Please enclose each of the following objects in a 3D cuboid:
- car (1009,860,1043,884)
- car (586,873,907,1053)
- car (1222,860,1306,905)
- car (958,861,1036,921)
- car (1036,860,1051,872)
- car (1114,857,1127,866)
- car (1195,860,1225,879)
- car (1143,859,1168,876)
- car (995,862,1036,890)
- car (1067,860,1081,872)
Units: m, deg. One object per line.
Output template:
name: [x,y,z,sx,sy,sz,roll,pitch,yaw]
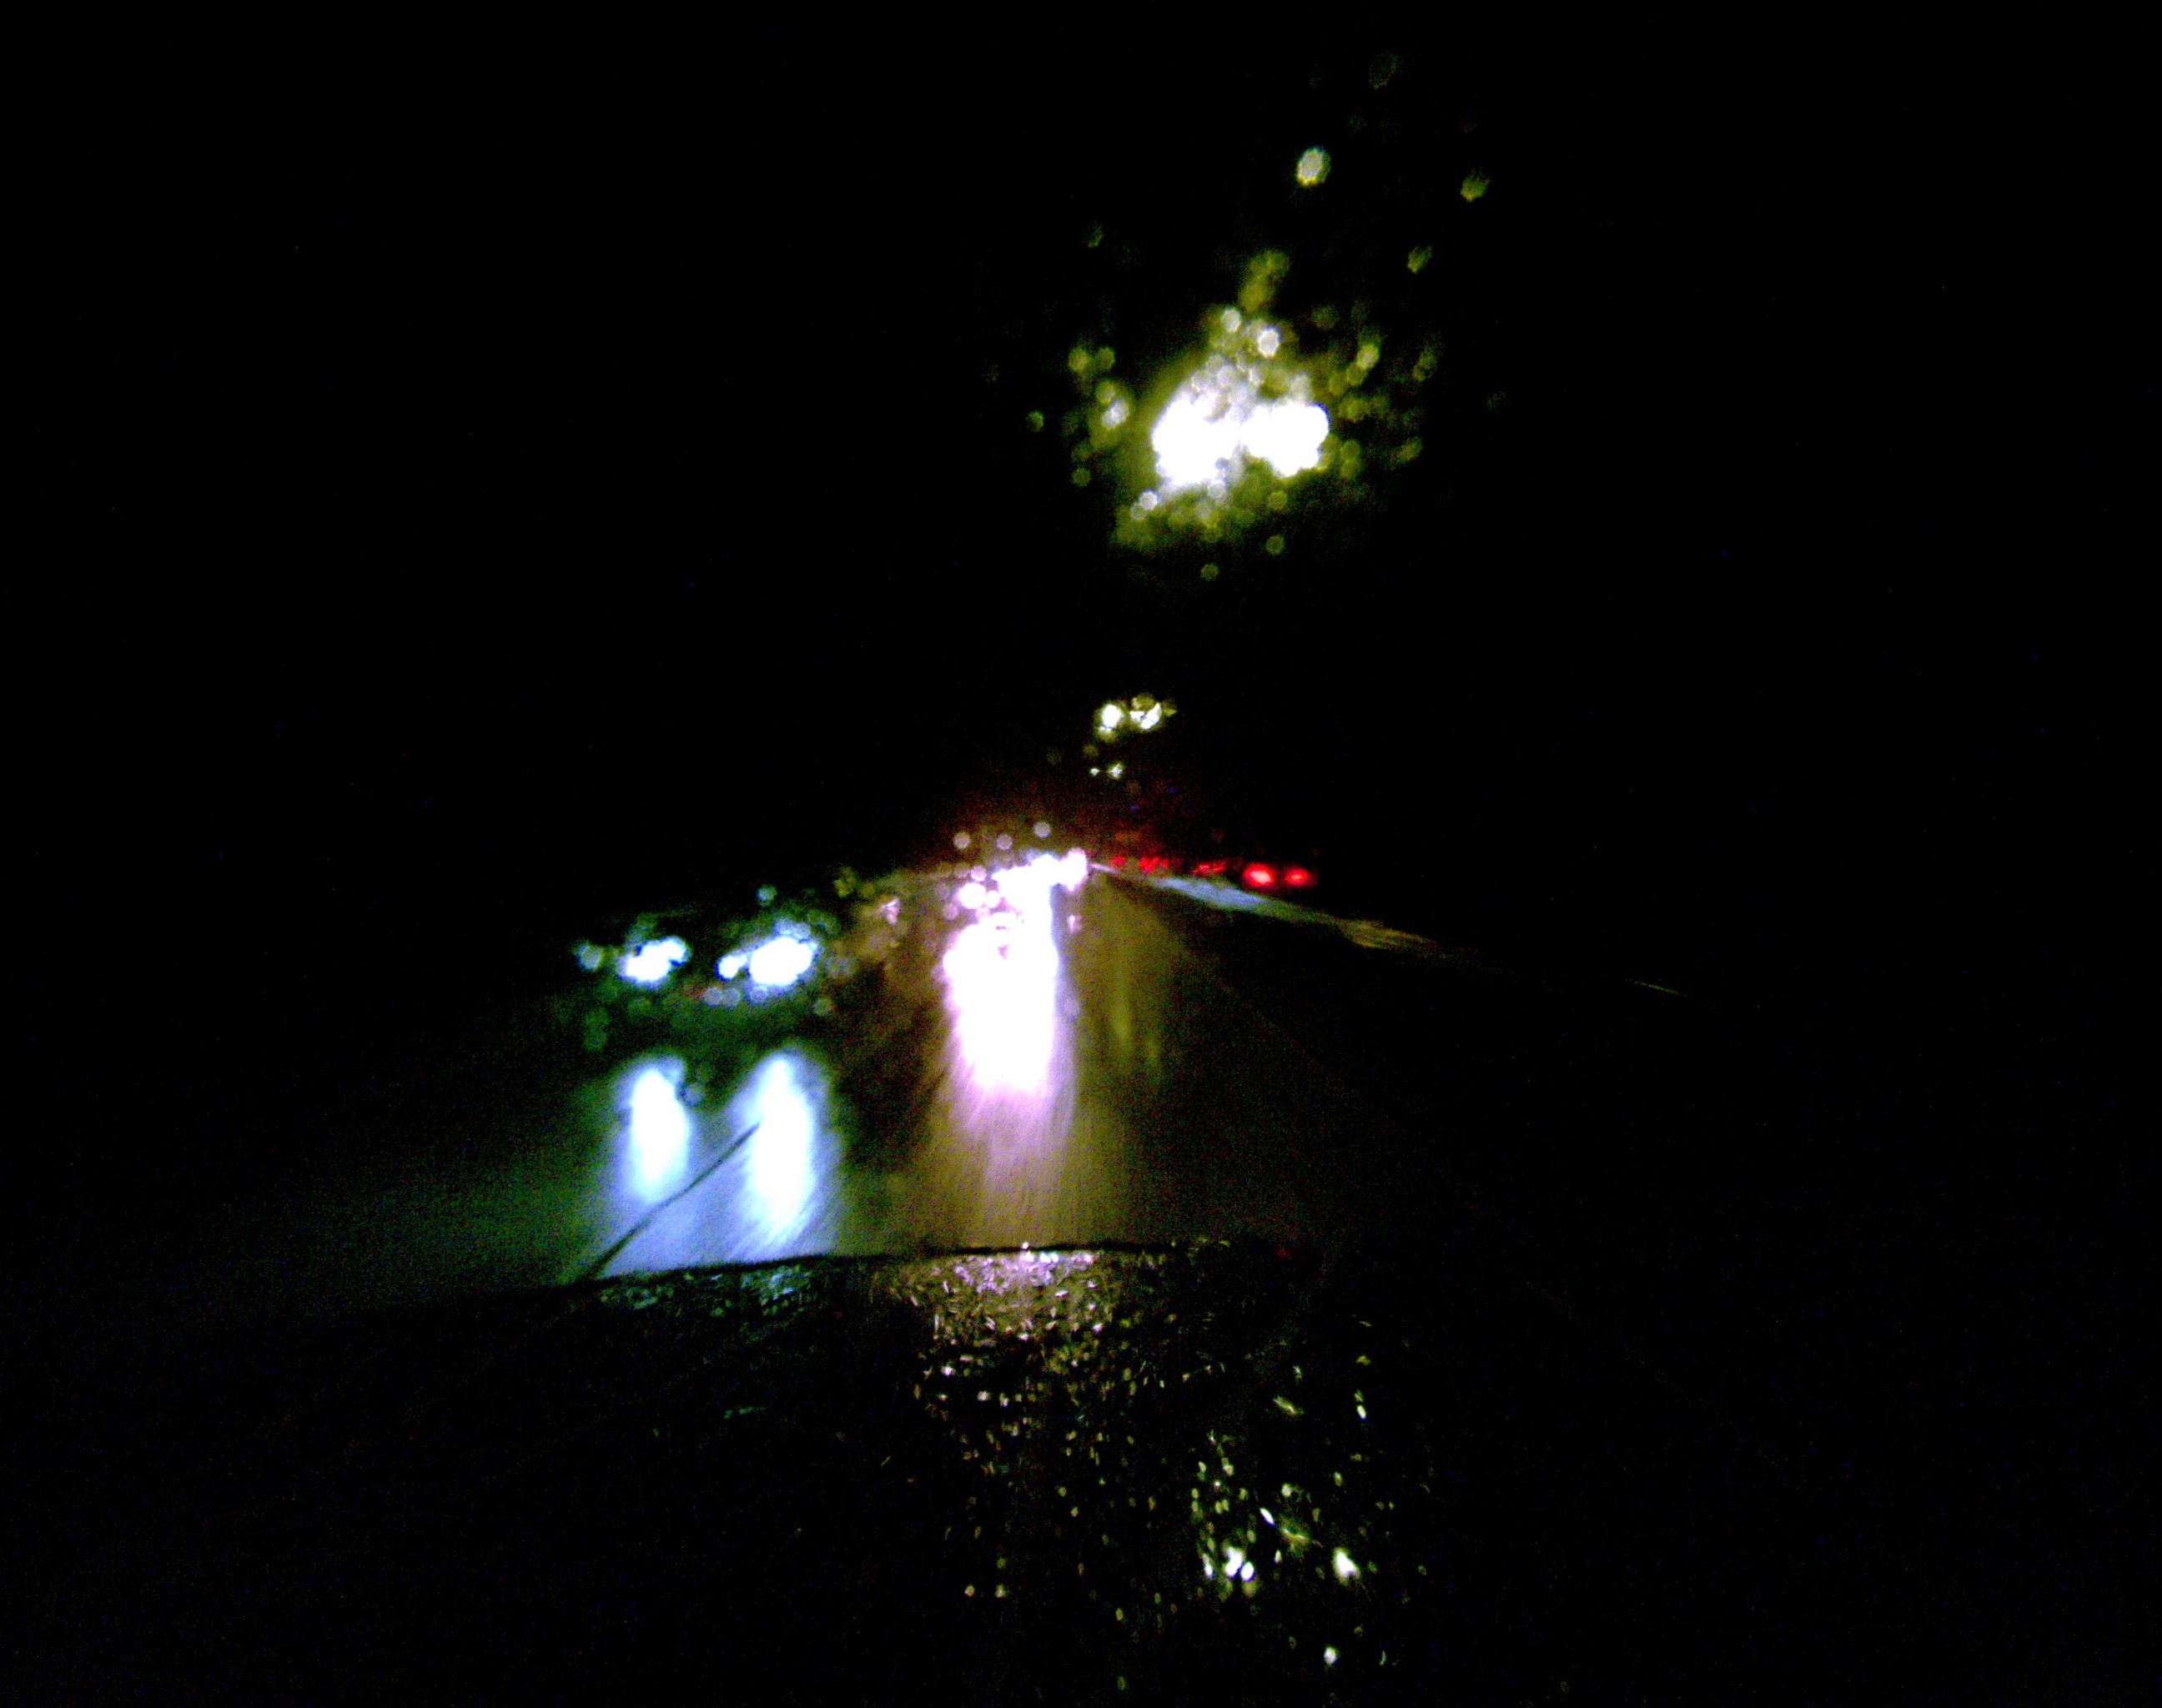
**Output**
car: [-3.733,1.199,51.949,1.999,1.531,4.000,-1,0,0]
car: [-3.542,1.038,9.144,1.826,1.476,4.567,-1,0,0]
car: [6.585,0.963,27.940,1.861,1.467,4.778,-1,0,-1]
car: [-2.300,0.985,21.815,1.764,1.492,4.000,-2,0,0]
car: [-5.312,1.680,109.287,1.999,1.657,3.999,0,0,-1]
car: [6.602,1.283,127.516,1.756,1.543,4.009,-1,0,-1]
car: [10.128,1.217,59.968,1.614,1.373,4.164,1,0,0]
car: [6.549,1.144,67.083,1.615,1.373,4.746,-1,0,0]
car: [-3.665,1.191,43.076,1.999,1.455,4.000,-1,0,0]
car: [-1.046,1.874,119.373,1.999,1.774,3.998,-2,1,-3]
